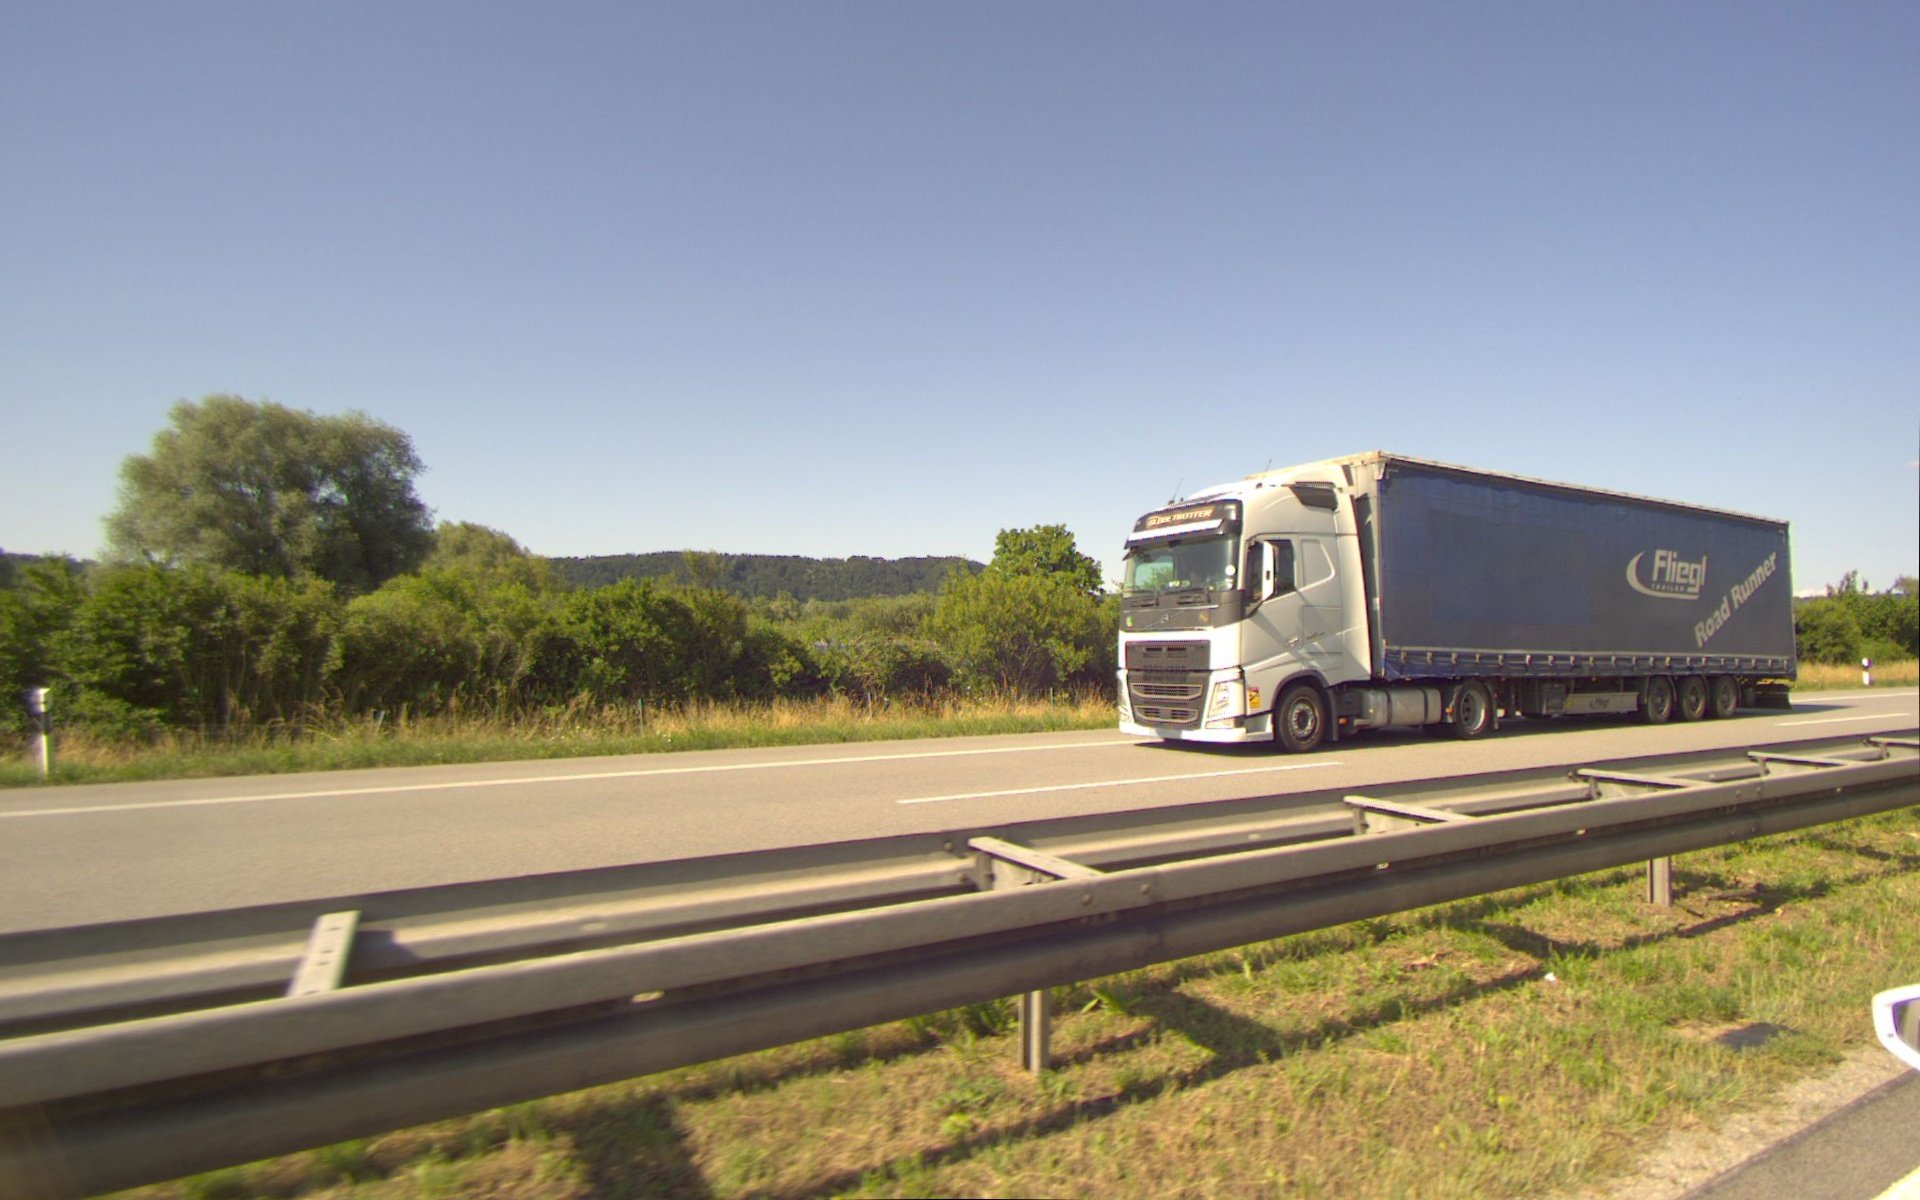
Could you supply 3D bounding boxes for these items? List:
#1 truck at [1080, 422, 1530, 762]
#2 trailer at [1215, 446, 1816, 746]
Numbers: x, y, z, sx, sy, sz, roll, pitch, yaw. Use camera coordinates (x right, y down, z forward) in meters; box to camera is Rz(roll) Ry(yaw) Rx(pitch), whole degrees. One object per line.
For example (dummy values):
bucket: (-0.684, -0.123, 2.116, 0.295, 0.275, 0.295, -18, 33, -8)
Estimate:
truck: (5.305, 0.049, 15.311, 6.316, 4.167, 3.154, 2, -3, -31)
trailer: (11.160, 0.226, 18.908, 14.434, 4.111, 3.169, 2, -4, -32)
